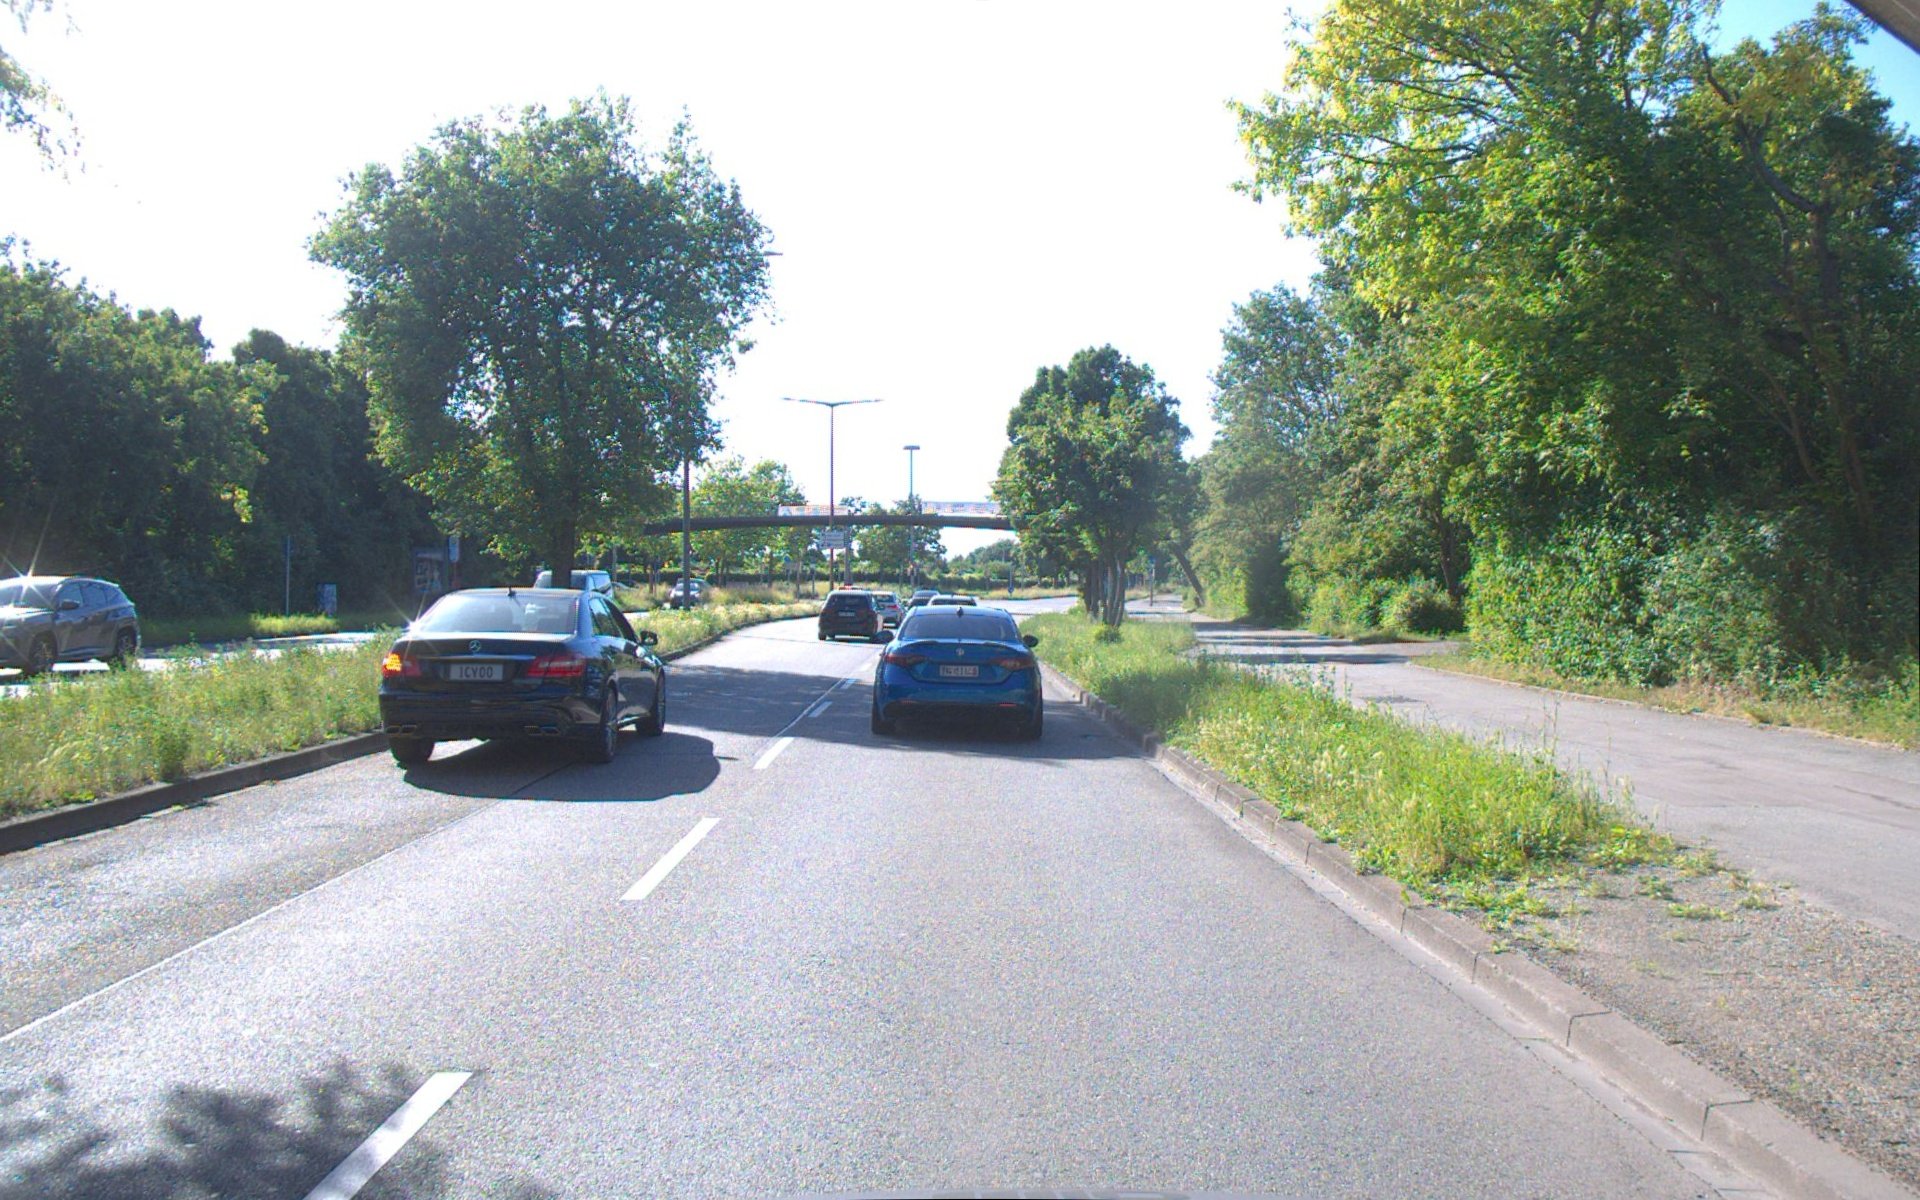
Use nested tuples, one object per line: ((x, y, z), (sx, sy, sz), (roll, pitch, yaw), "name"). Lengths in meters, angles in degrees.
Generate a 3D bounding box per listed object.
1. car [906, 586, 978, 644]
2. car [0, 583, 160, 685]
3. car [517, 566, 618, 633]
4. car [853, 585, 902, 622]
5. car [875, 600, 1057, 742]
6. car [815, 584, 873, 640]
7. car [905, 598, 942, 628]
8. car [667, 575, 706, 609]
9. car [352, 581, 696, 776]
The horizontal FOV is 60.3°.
((-0.513, 0.393, 45.429), (1.845, 1.479, 4.525), (1, 0, -1), "car")
((-15.702, 0.514, 28.115), (1.942, 1.579, 4.592), (1, 0, 0), "car")
((-12.127, -0.006, 51.428), (1.953, 1.963, 5.244), (0, 0, -1), "car")
((-3.426, 0.148, 69.167), (1.845, 1.479, 4.525), (1, 0, -1), "car")
((0.027, 0.744, 19.223), (1.845, 1.431, 4.223), (1, 0, -1), "car")
((-3.549, 0.356, 50.880), (1.674, 1.626, 4.221), (1, 0, -4), "car")
((-1.889, 0.691, 86.752), (1.845, 1.479, 4.525), (1, 0, -1), "car")
((-17.184, -0.465, 103.965), (1.954, 2.049, 4.578), (1, 0, -4), "car")
((-3.802, 0.615, 15.412), (1.919, 1.509, 4.918), (1, 0, 0), "car")
